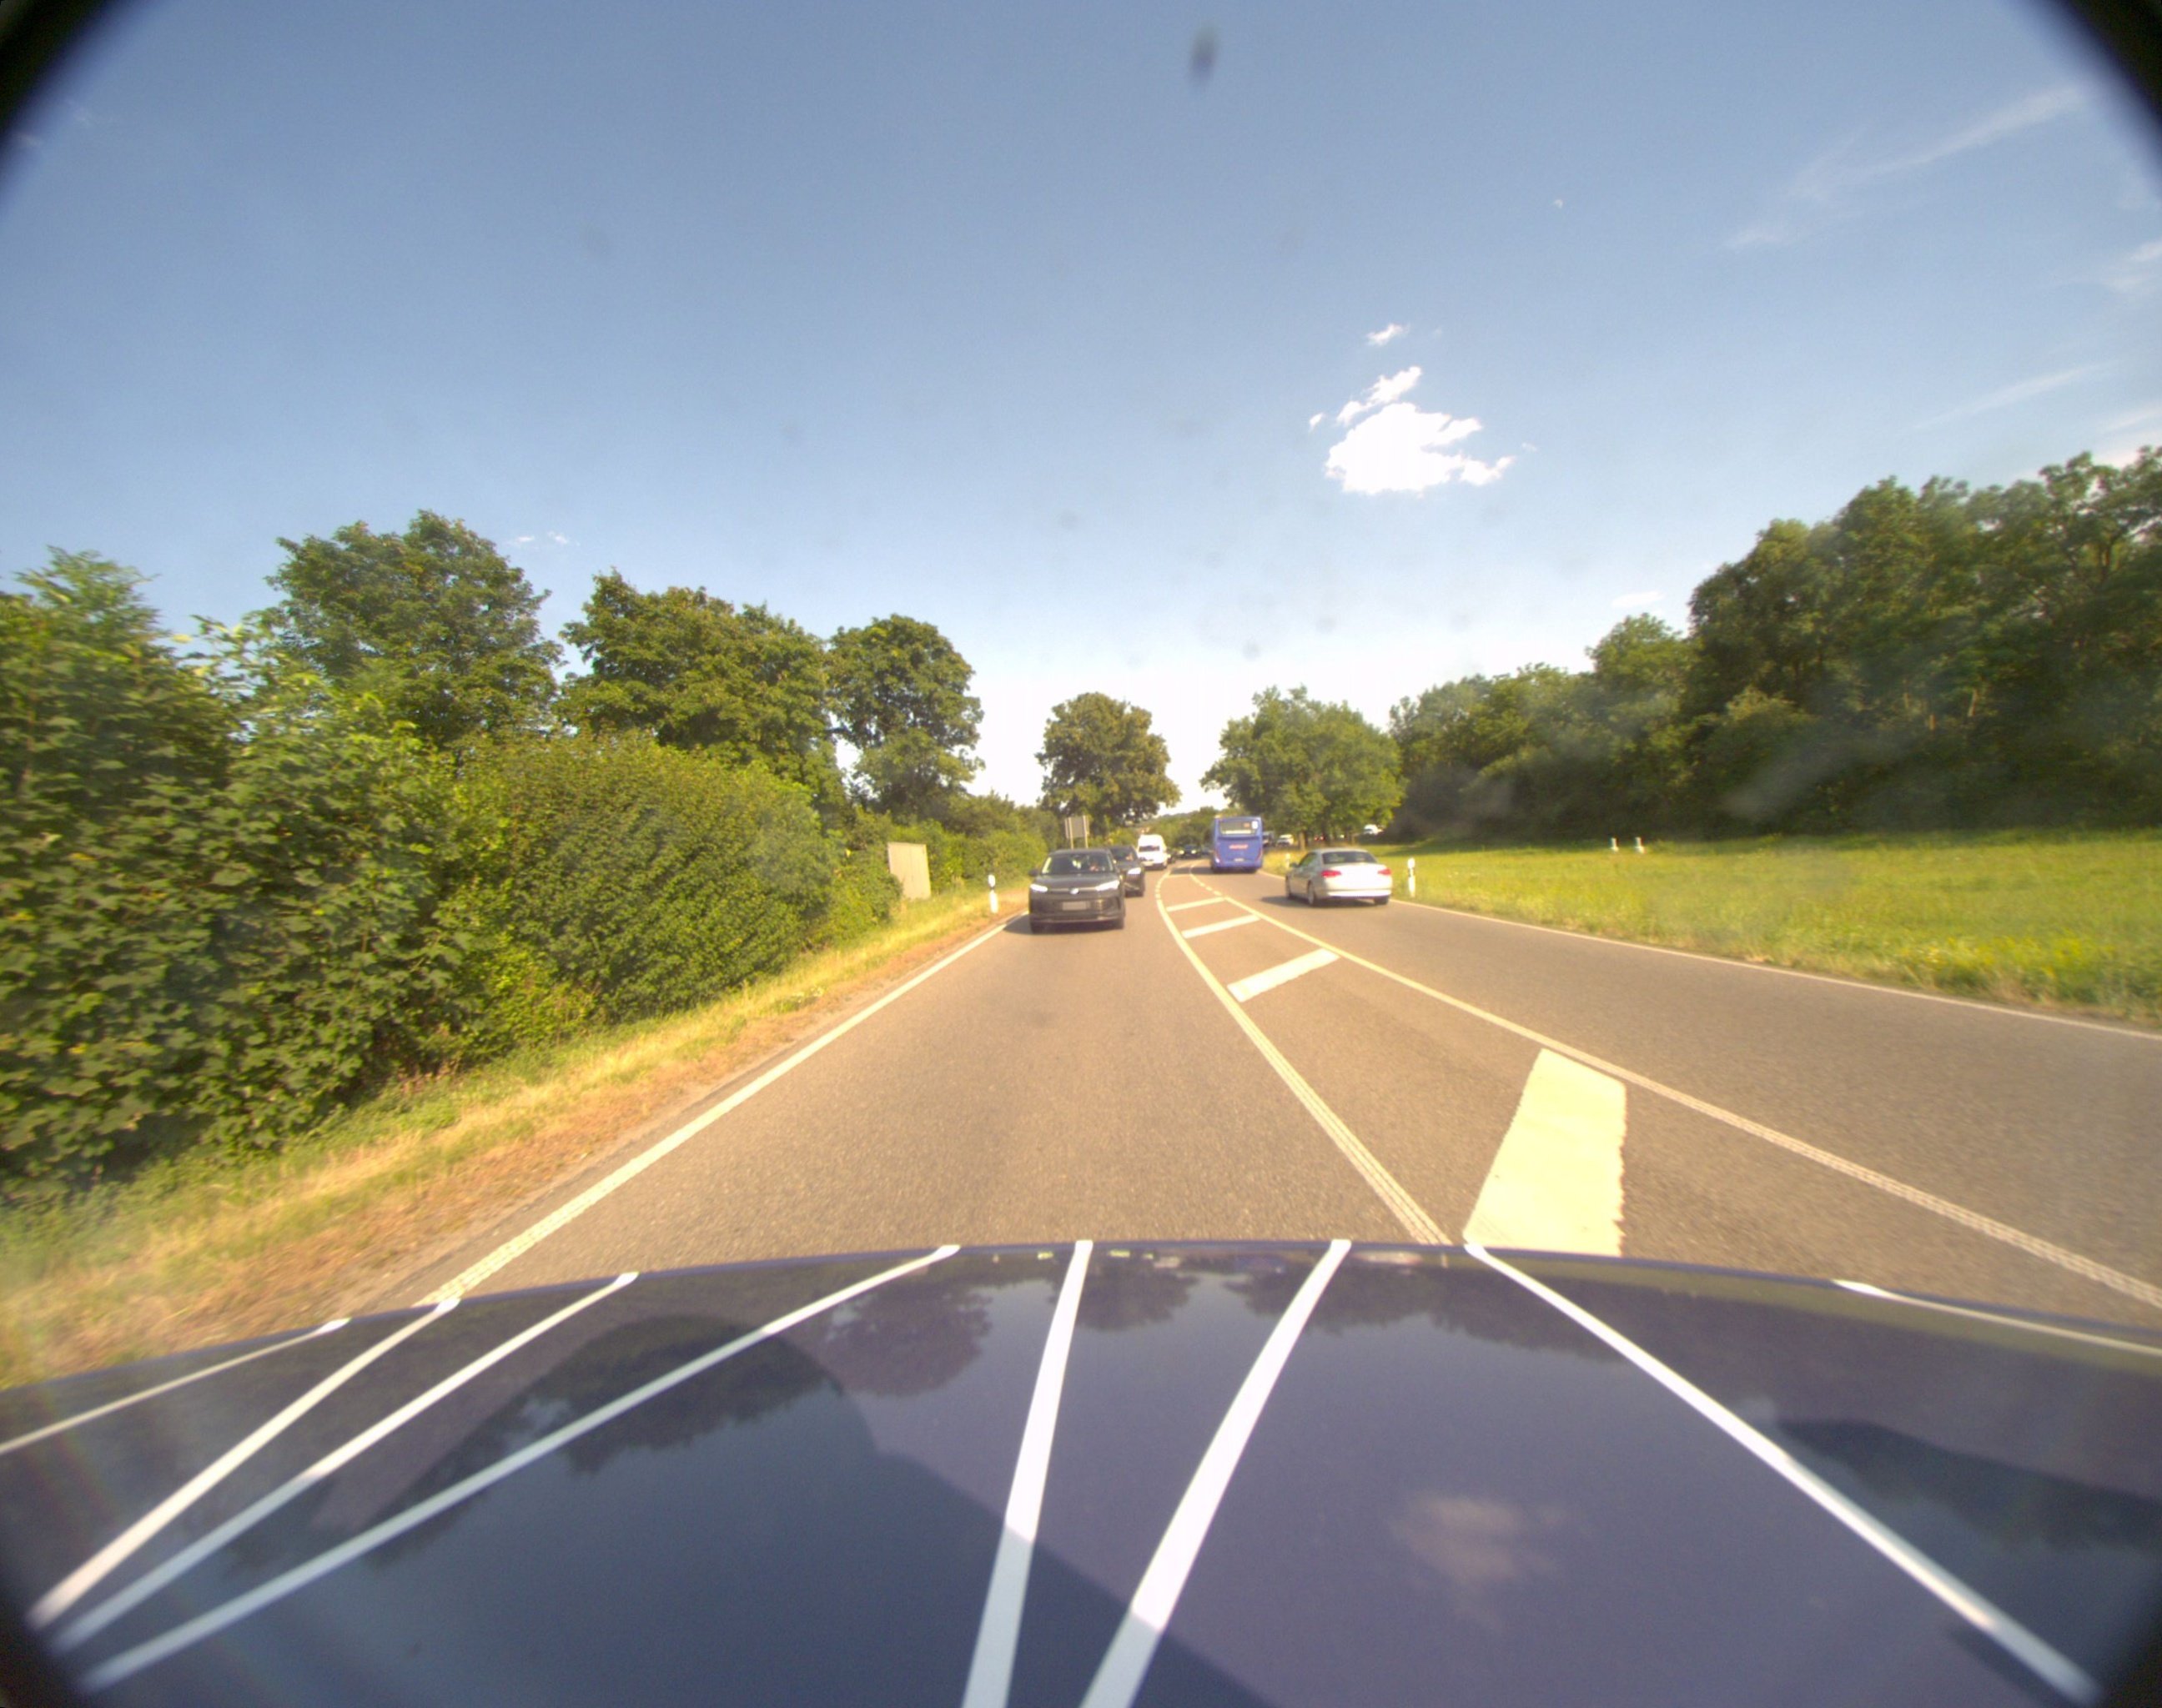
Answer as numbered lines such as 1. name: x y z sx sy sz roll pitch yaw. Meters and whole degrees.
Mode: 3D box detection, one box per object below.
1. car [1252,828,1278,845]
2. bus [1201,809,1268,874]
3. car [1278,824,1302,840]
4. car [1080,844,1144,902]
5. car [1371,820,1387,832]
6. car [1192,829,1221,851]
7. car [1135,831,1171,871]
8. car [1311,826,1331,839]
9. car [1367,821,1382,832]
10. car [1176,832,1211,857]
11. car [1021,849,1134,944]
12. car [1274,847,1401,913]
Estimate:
1. car: 29.372 -2.811 120.987 2.084 2.403 5.151 -2 2 37
2. bus: 8.850 -0.826 45.054 2.800 3.163 12.129 -3 1 7
3. car: 35.730 -3.709 129.618 2.084 2.403 5.151 -2 2 37
4. car: 1.162 0.570 26.014 1.922 1.719 4.702 -3 1 5
5. car: 67.676 -6.354 172.565 2.084 2.403 5.151 -2 2 37
6. car: 15.711 -1.769 95.236 2.085 2.403 5.149 -3 2 26
7. car: 4.775 -0.271 51.160 2.088 2.403 5.142 -3 1 3
8. car: 48.433 -4.356 153.404 2.084 2.403 5.151 -2 2 37
9. car: 73.027 -6.777 188.994 2.084 2.403 5.151 -2 2 37
10. car: 12.156 -1.100 81.768 2.085 2.403 5.149 -3 2 26
11. car: 0.102 0.758 16.250 1.922 1.612 4.702 -3 1 5
12. car: 6.226 0.559 19.055 1.704 1.326 4.749 -3 1 2
